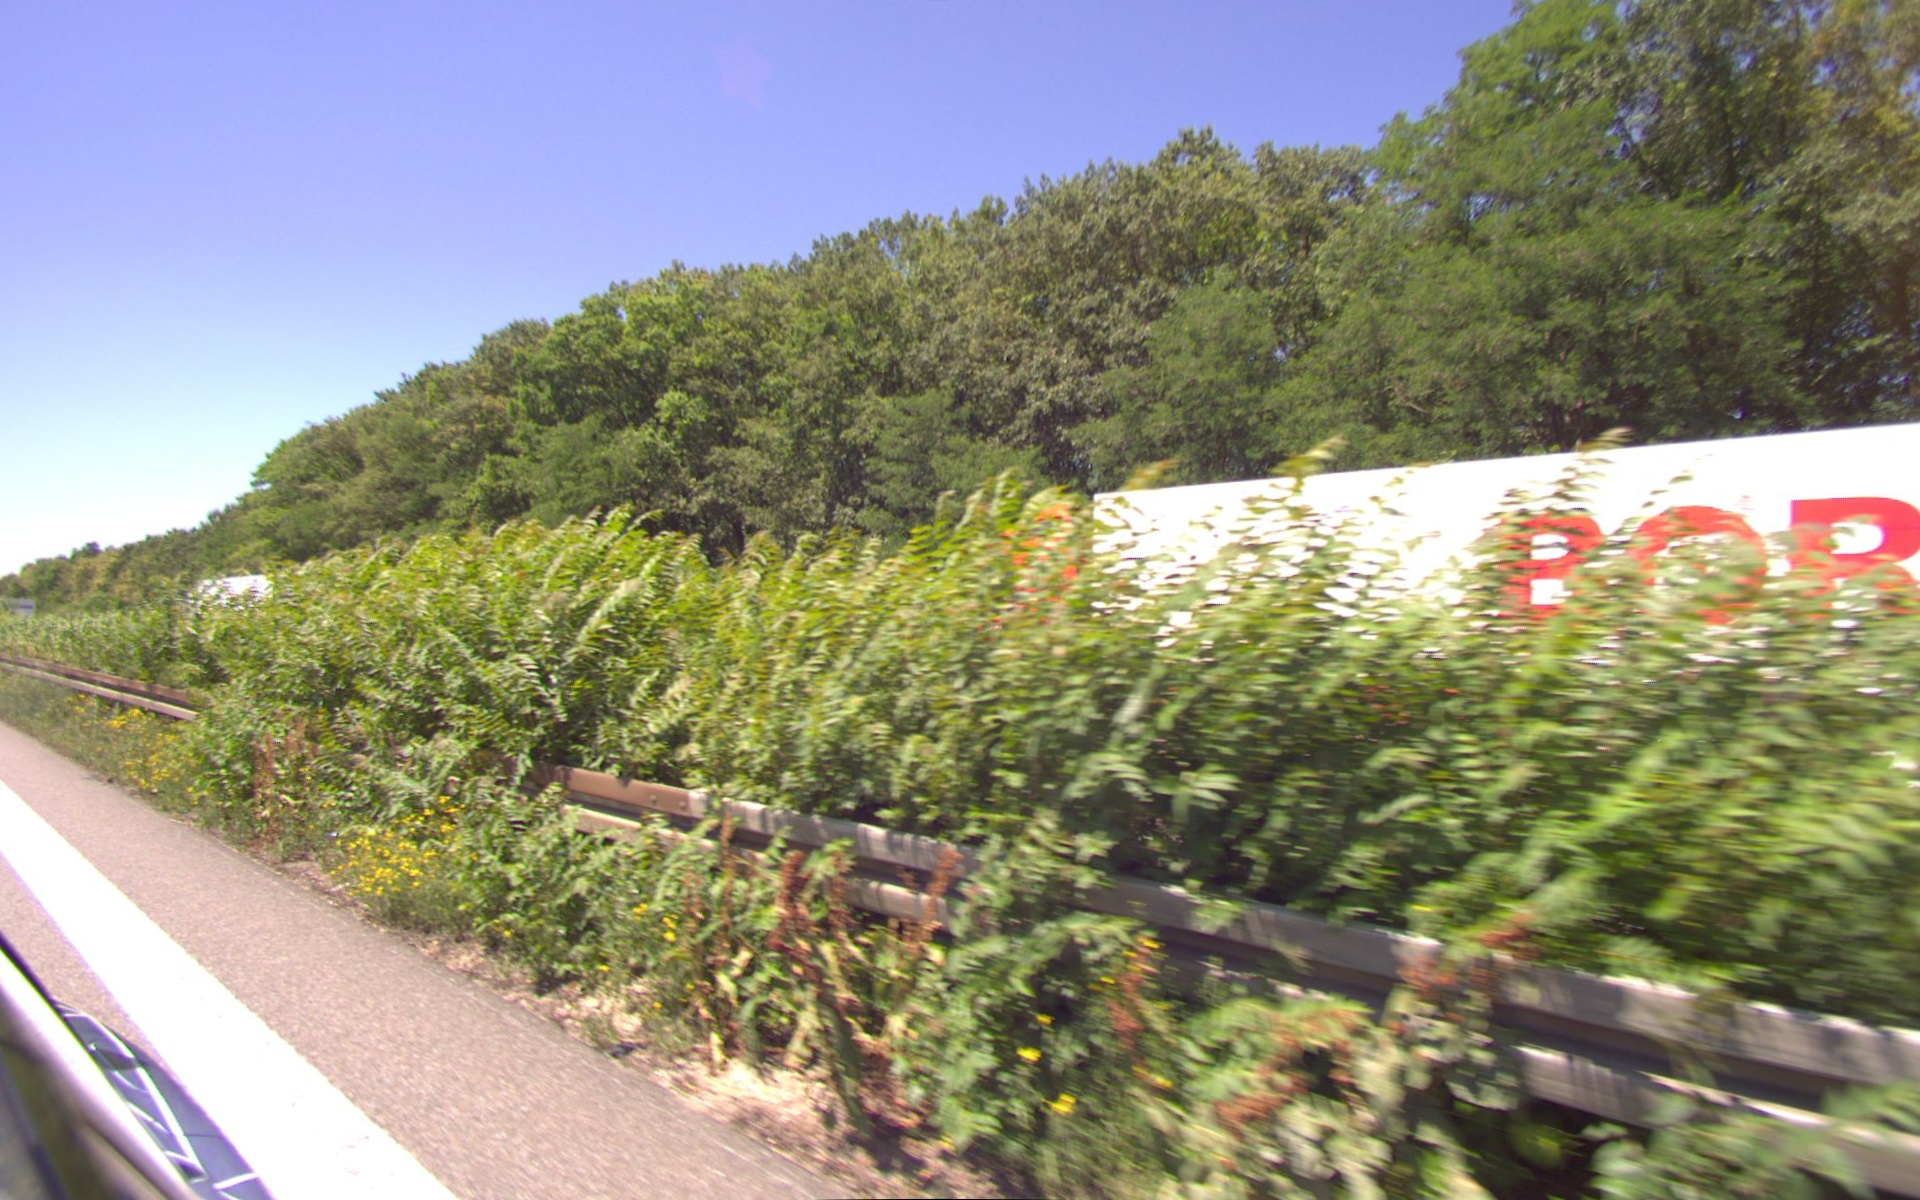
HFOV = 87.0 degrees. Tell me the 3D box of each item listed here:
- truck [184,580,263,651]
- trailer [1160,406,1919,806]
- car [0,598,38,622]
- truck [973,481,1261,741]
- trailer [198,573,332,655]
[{"bbox_3d":[-43.849,0.951,60.229,4.183,4.065,2.804,-1,-3,41],"label":"truck"},{"bbox_3d":[8.985,0.102,12.958,12.909,4.081,2.890,-1,-1,41],"label":"trailer"},{"bbox_3d":[-79.757,0.852,85.659,3.998,2.029,2.028,-1,-1,41],"label":"car"},{"bbox_3d":[2.808,0.214,18.372,4.292,4.081,2.891,-1,-1,40],"label":"truck"},{"bbox_3d":[-38.082,0.834,55.183,12.907,4.065,2.804,-1,-3,41],"label":"trailer"}]
